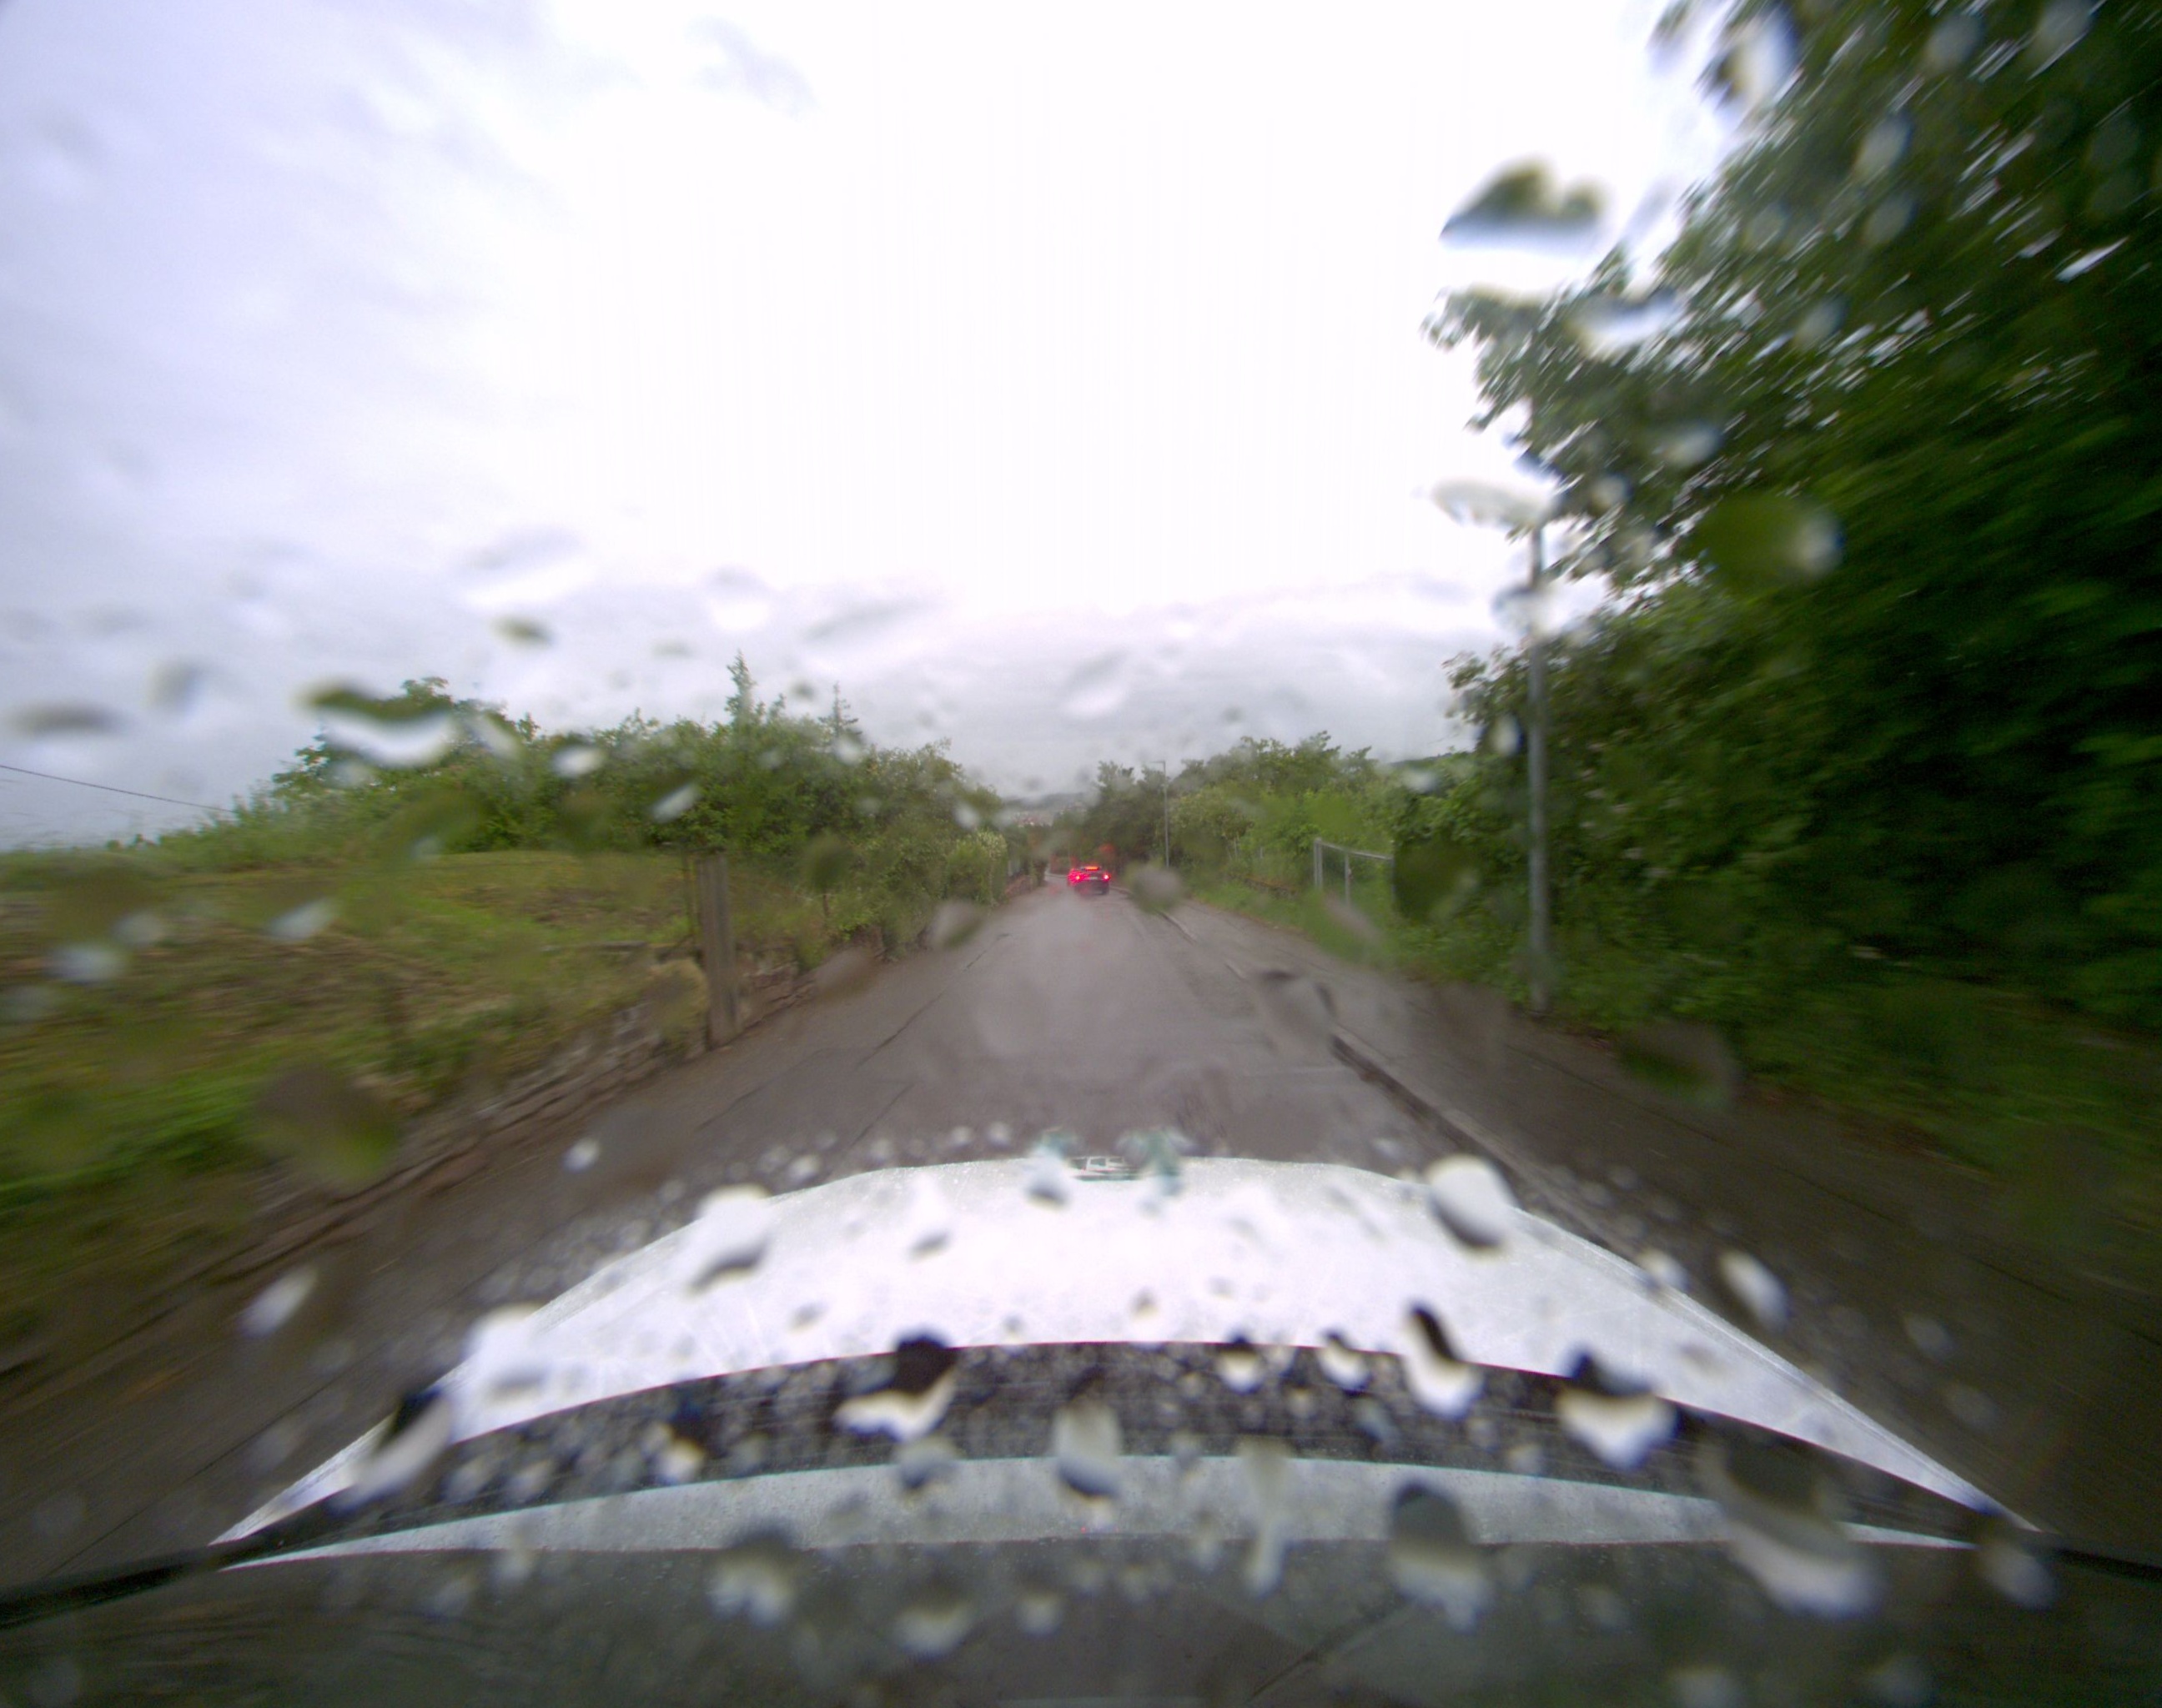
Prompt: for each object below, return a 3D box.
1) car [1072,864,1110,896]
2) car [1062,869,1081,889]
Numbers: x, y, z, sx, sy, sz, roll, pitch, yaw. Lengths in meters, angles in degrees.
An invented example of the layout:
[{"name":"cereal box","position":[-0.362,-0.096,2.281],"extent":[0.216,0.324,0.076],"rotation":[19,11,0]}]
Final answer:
[{"name":"car","position":[0.477,1.333,42.537],"extent":[1.830,1.464,3.998],"rotation":[-2,0,-1]},{"name":"car","position":[-0.817,2.168,72.577],"extent":[1.672,1.565,3.794],"rotation":[-1,1,0]}]
